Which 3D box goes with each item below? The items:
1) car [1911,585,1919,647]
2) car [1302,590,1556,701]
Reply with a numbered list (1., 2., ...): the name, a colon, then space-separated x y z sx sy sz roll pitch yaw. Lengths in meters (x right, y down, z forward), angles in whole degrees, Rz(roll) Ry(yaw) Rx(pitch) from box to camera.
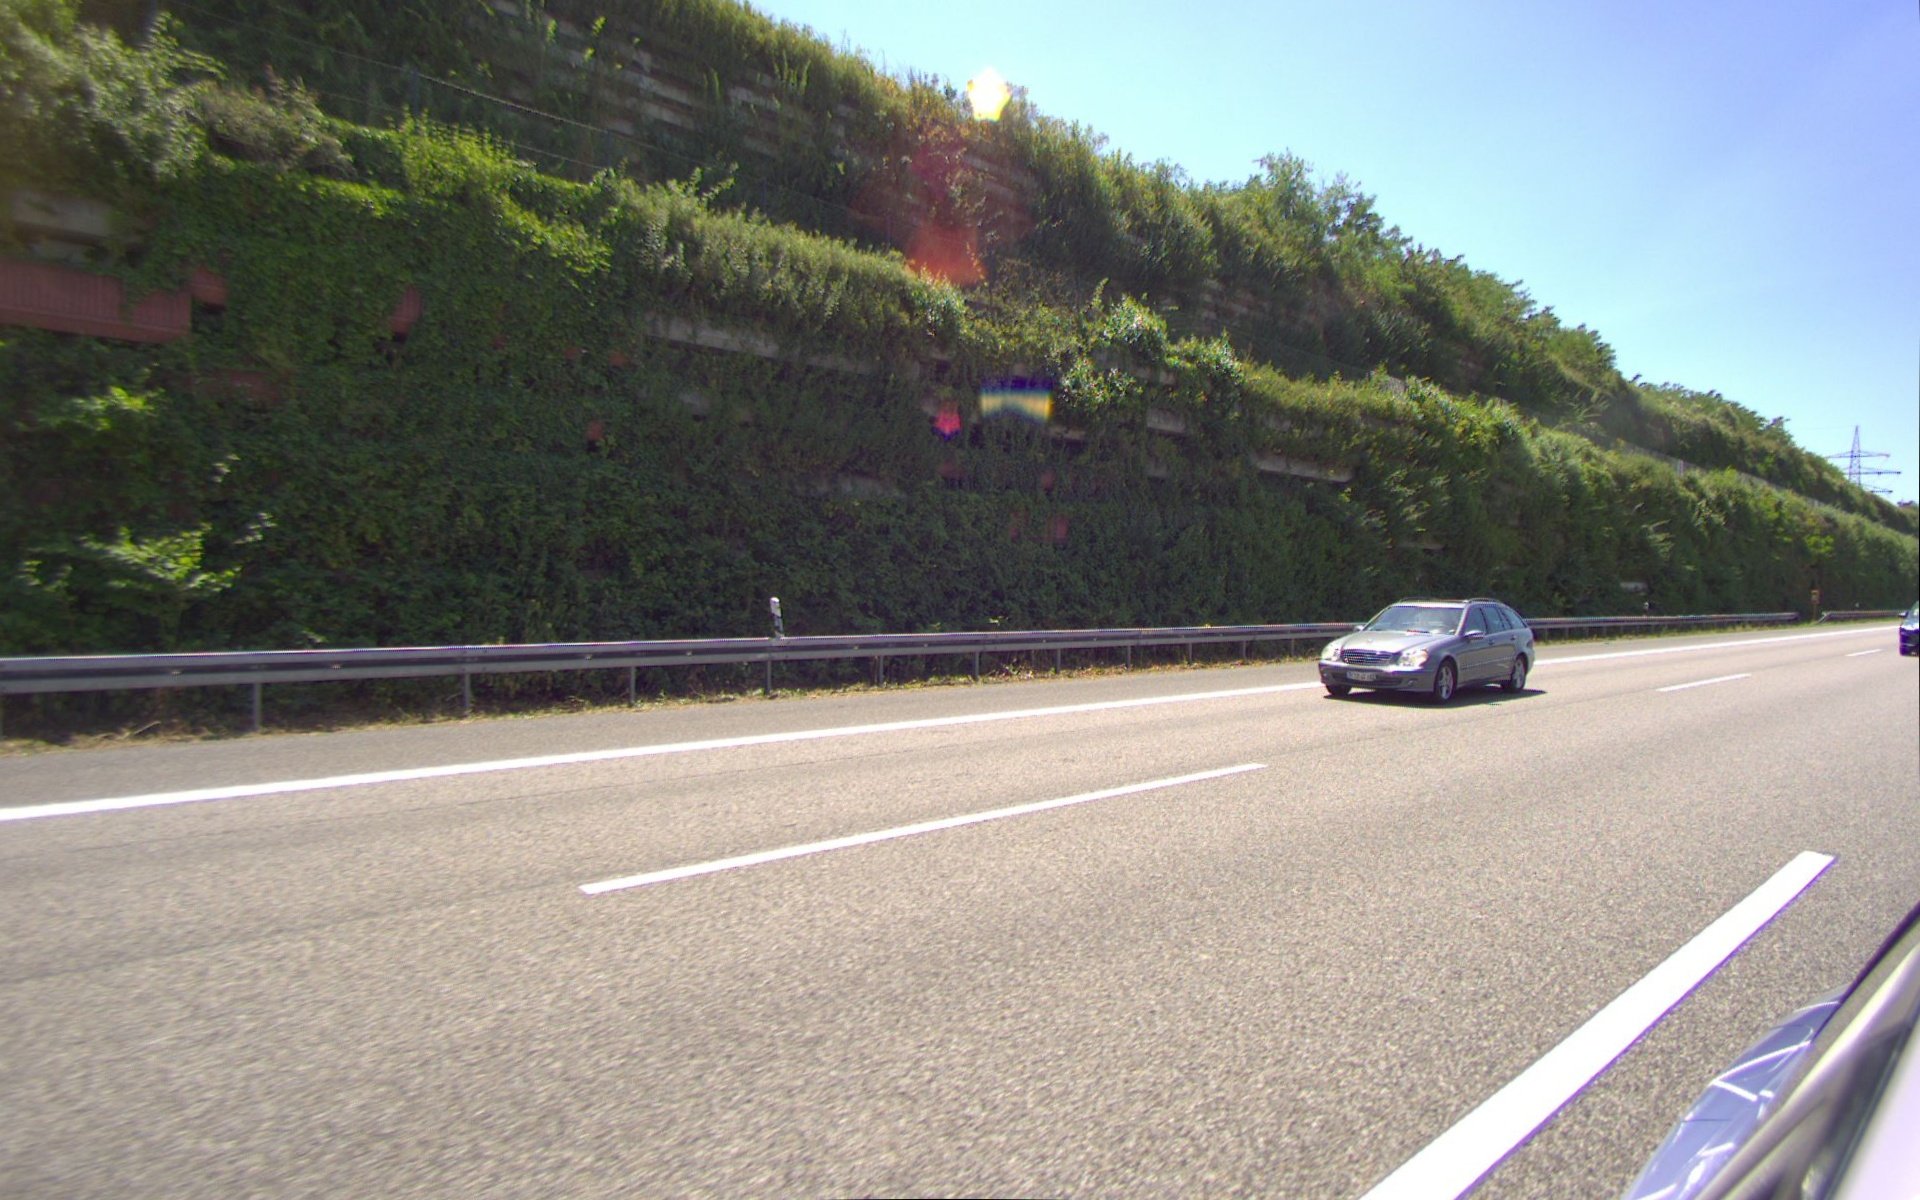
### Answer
1. car: 28.567 0.468 28.618 4.478 1.701 1.983 0 1 -41
2. car: 7.230 0.584 15.395 4.478 1.429 1.839 0 1 -41
